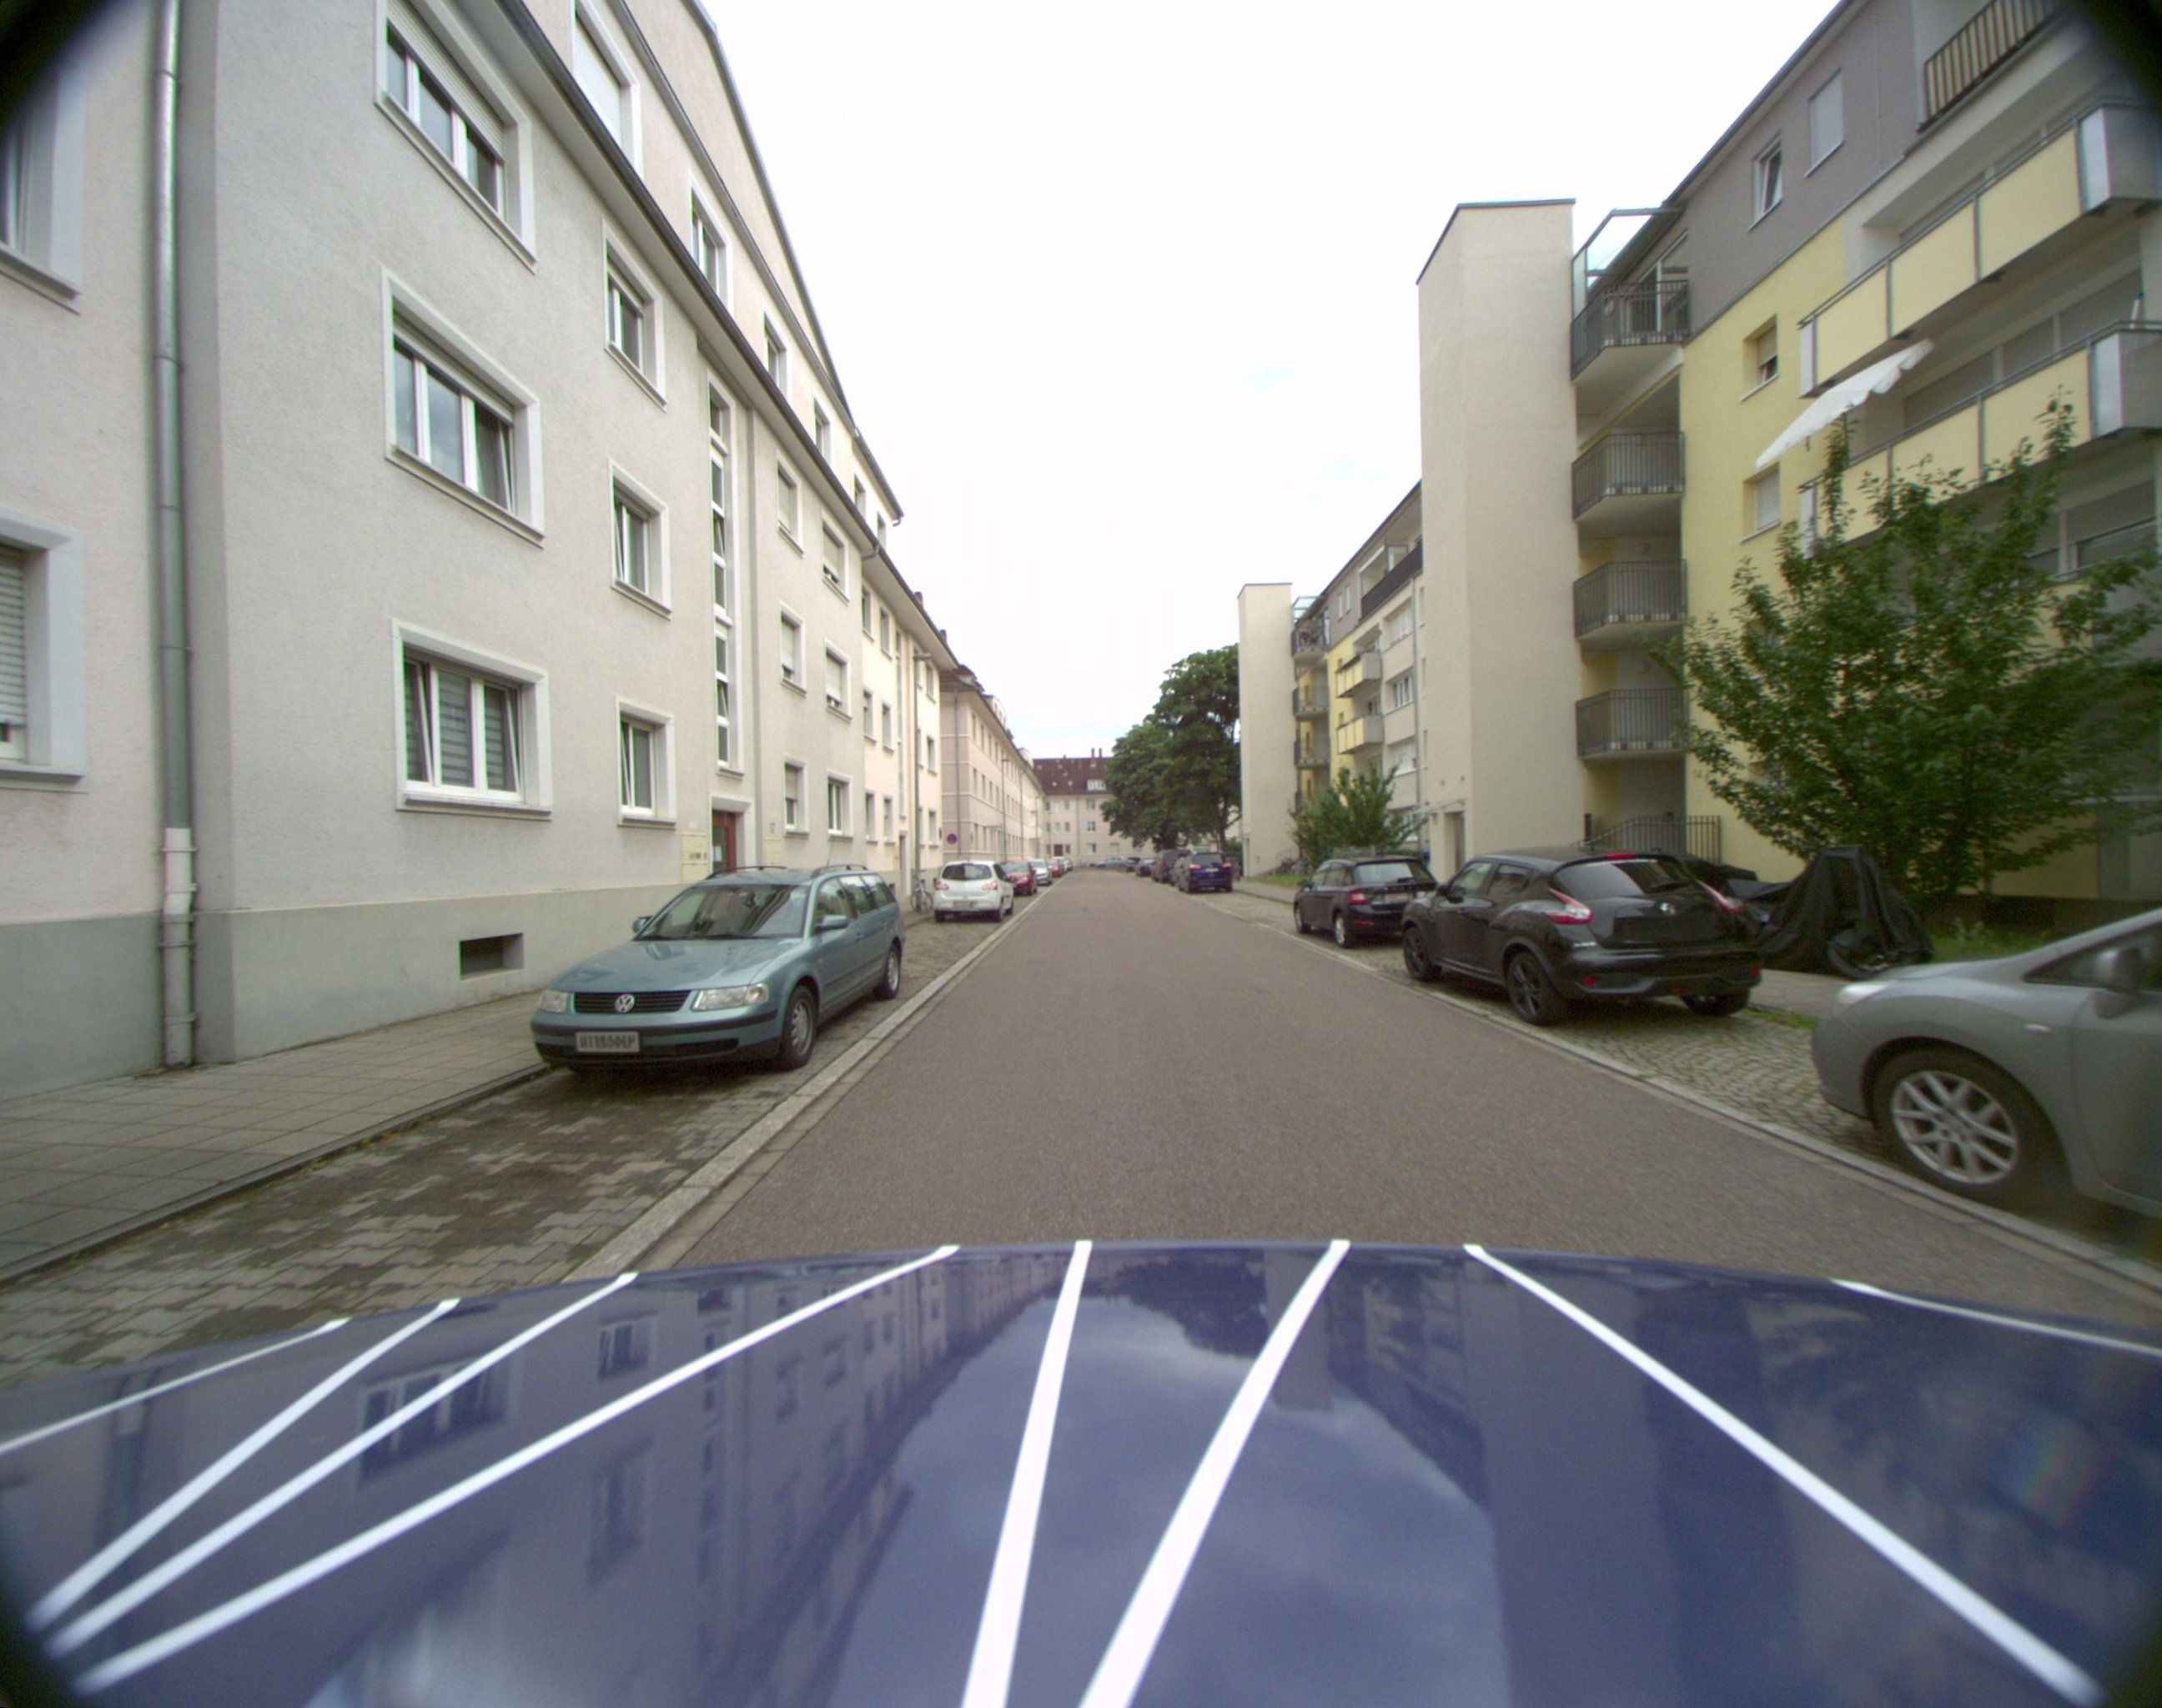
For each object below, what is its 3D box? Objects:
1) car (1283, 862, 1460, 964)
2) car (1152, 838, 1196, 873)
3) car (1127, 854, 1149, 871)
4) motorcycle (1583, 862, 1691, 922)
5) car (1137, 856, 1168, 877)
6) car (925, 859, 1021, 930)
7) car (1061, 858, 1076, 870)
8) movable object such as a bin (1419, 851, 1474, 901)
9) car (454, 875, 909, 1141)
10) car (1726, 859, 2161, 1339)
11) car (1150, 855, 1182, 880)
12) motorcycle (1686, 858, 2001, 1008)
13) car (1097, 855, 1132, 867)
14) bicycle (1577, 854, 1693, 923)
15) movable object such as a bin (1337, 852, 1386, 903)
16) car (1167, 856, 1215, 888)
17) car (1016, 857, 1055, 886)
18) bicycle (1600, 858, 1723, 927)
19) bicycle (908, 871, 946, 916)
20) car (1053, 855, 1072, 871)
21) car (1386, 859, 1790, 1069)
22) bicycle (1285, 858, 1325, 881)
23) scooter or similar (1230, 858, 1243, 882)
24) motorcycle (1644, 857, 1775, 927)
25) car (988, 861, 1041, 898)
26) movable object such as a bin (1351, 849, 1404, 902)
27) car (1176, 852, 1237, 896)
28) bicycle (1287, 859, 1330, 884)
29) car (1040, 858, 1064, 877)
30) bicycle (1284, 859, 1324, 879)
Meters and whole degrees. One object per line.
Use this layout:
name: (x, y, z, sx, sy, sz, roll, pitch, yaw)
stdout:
car: (4.926, 0.917, 13.472, 1.647, 1.430, 3.856, -3, 0, 1)
car: (5.324, 0.103, 43.914, 1.891, 1.844, 4.785, -1, 0, 0)
car: (5.872, 0.861, 78.947, 2.000, 1.566, 4.210, -3, 0, 1)
motorcycle: (10.753, 0.721, 14.725, 1.619, 1.122, 0.690, -1, 0, -3)
car: (5.512, 0.941, 59.073, 1.919, 1.431, 4.434, -3, 0, -1)
car: (-2.670, 0.965, 19.617, 1.788, 1.590, 3.805, -1, 0, 2)
car: (-1.436, 1.172, 87.289, 1.563, 1.334, 3.789, -1, 0, 1)
movable object such as a bin: (11.109, 0.655, 23.131, 1.004, 1.438, 1.314, -2, 1, 1)
car: (-2.902, 0.996, 6.738, 1.729, 1.460, 4.264, -1, 0, 0)
car: (4.658, 0.855, 1.882, 1.839, 1.561, 4.861, -3, 0, -2)
car: (5.485, 0.836, 49.211, 1.625, 1.559, 3.613, -1, 0, -1)
motorcycle: (7.778, 0.716, 8.001, 0.871, 1.299, 2.420, -3, 0, 1)
car: (4.511, 0.980, 102.228, 4.545, 1.551, 1.565, -1, 0, 5)
bicycle: (10.174, 0.623, 13.974, 1.727, 1.218, 0.609, -1, 0, -4)
movable object such as a bin: (8.605, 0.699, 23.383, 1.004, 1.492, 1.314, -2, 1, 1)
car: (5.369, 0.860, 37.509, 1.625, 1.437, 3.818, -3, 0, -3)
car: (-2.430, 0.928, 41.364, 1.792, 1.455, 4.040, -1, 0, 1)
bicycle: (10.172, 0.662, 13.334, 1.727, 1.136, 0.609, -1, 0, -4)
bicycle: (-4.217, 1.055, 20.933, 0.607, 1.133, 2.125, -1, 0, 0)
car: (-1.876, 0.885, 76.993, 1.764, 1.595, 3.956, -1, 0, 1)
car: (4.722, 0.873, 7.866, 1.657, 1.521, 3.895, -3, 0, 3)
bicycle: (11.312, 0.792, 38.363, 1.855, 1.130, 0.717, -1, 0, 8)
scooter or similar: (7.908, 0.807, 38.623, 0.438, 1.236, 1.136, -1, 0, 1)
motorcycle: (10.488, 0.619, 12.702, 1.753, 1.122, 0.593, 0, 0, -3)
car: (-2.648, 0.995, 31.164, 1.758, 1.401, 3.936, -1, 0, 1)
movable object such as a bin: (8.546, 0.597, 21.947, 1.004, 1.438, 1.314, -2, 1, 1)
car: (5.126, 0.783, 31.621, 1.804, 1.617, 4.472, -3, 0, 1)
bicycle: (11.012, 0.836, 36.779, 1.857, 1.130, 0.716, -1, 0, -2)
car: (-2.267, 1.039, 60.454, 1.758, 1.477, 3.773, 0, 0, 1)
bicycle: (11.442, 0.766, 39.063, 1.855, 1.014, 0.671, -1, 0, 8)
